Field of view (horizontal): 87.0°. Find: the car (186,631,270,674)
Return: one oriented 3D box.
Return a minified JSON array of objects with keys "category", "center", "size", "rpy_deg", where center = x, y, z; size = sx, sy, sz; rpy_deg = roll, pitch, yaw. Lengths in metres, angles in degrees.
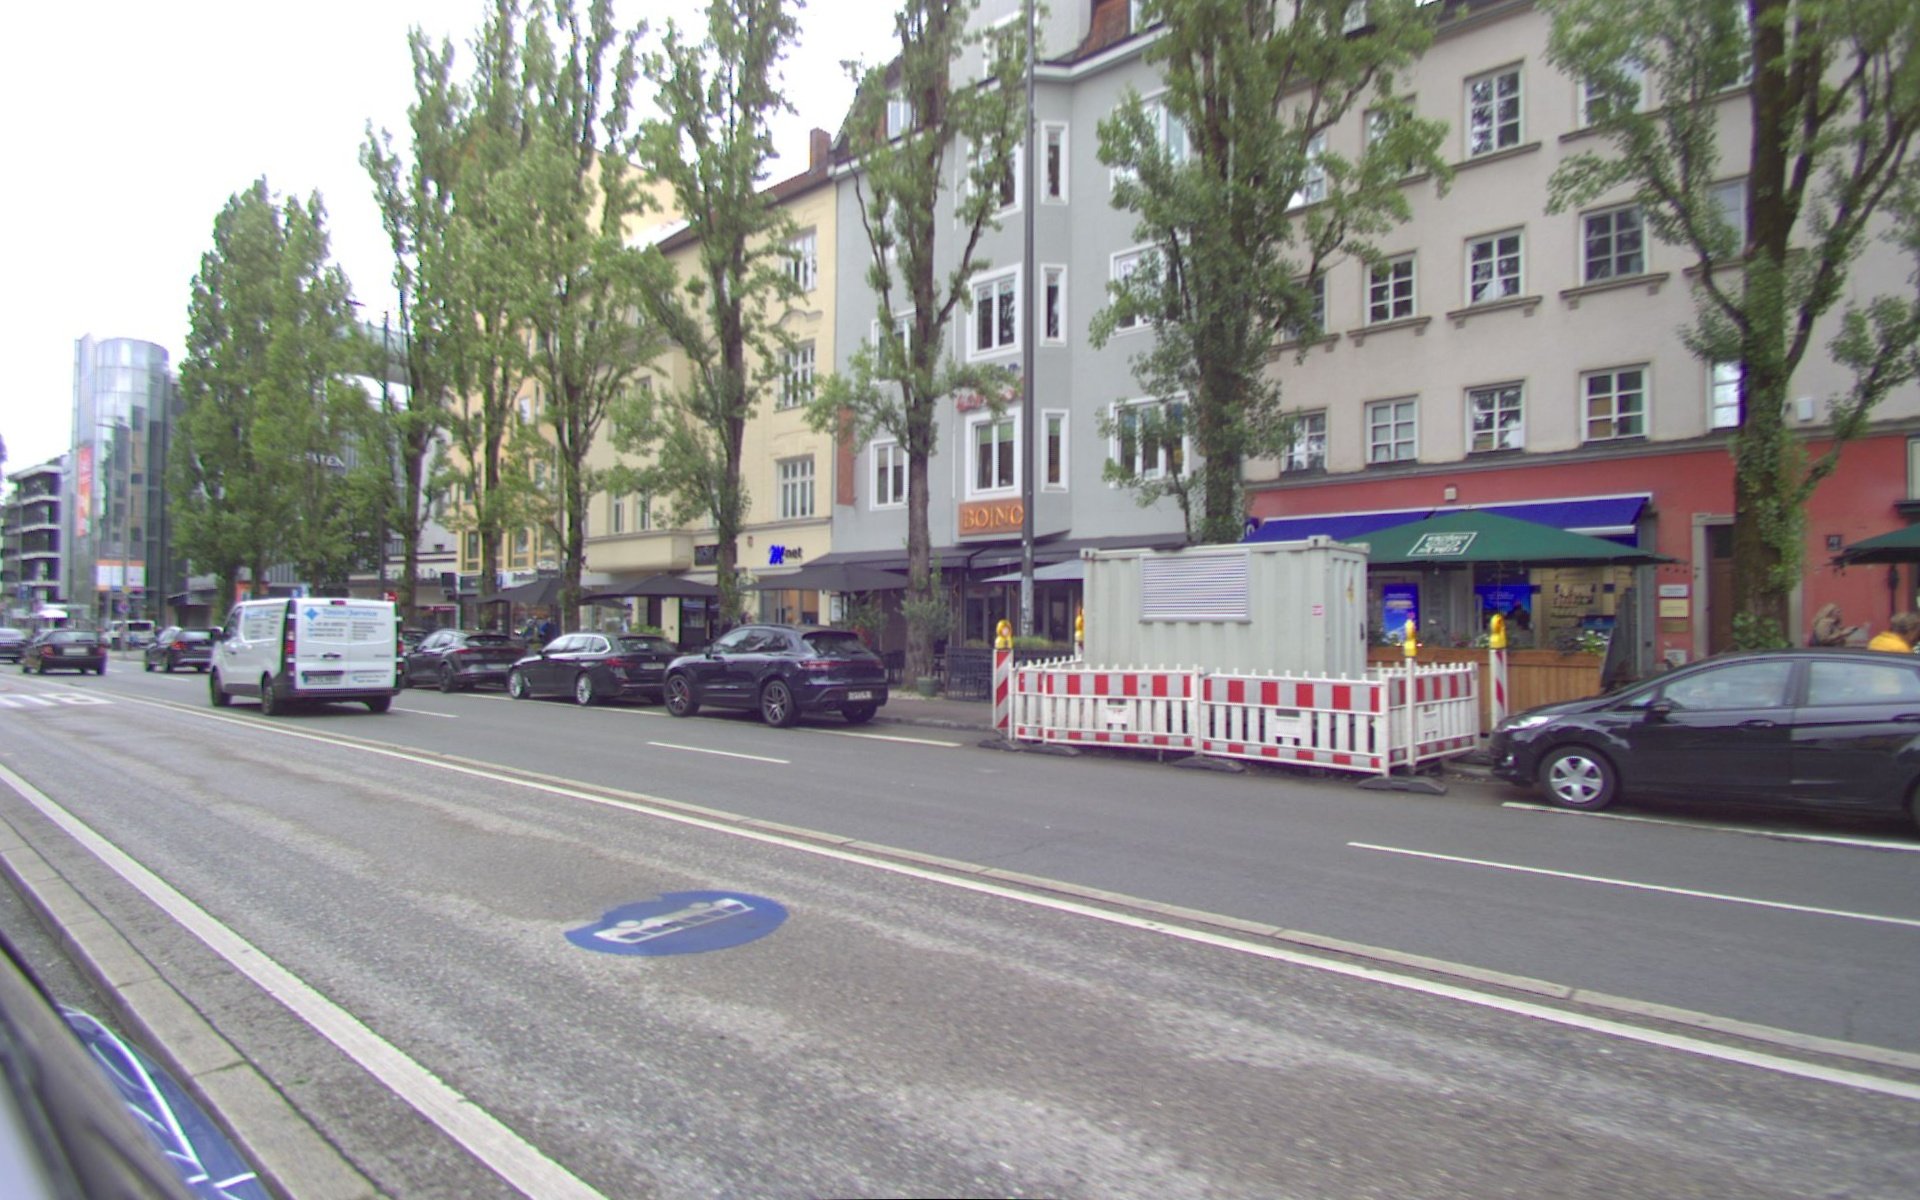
[{"category":"car","center":[-28.702,2.022,39.642],"size":[4.102,1.590,1.779],"rpy_deg":[-2,-3,41]}]

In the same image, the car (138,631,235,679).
[{"category":"car","center":[-26.605,1.854,34.756],"size":[4.360,1.530,1.728],"rpy_deg":[-1,-3,40]}]

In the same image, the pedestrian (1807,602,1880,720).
[{"category":"pedestrian","center":[12.758,0.869,14.617],"size":[0.732,1.636,0.690],"rpy_deg":[-2,-3,43]}]

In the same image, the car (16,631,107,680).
[{"category":"car","center":[-28.102,1.694,31.613],"size":[3.593,1.451,1.596],"rpy_deg":[-1,-3,40]}]

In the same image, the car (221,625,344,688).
[{"category":"car","center":[-18.095,1.465,26.976],"size":[4.074,1.553,1.696],"rpy_deg":[-2,-4,41]}]

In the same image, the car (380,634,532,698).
[{"category":"car","center":[-12.708,1.587,25.399],"size":[4.572,1.451,1.778],"rpy_deg":[-2,-3,41]}]

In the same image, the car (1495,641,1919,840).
[{"category":"car","center":[6.840,1.089,8.638],"size":[3.779,1.433,1.739],"rpy_deg":[-1,-3,38]}]

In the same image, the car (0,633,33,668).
[{"category":"car","center":[-39.667,2.043,41.563],"size":[4.360,1.410,1.758],"rpy_deg":[-1,-3,40]}]

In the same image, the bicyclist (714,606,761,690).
[{"category":"bicyclist","center":[-4.684,0.997,21.337],"size":[0.816,1.718,0.598],"rpy_deg":[-1,-2,42]}]

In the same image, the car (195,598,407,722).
[{"category":"car","center":[-12.037,1.031,18.324],"size":[5.069,1.947,1.872],"rpy_deg":[-2,-3,41]}]

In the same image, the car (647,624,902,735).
[{"category":"car","center":[-3.241,1.248,17.107],"size":[4.572,1.625,1.778],"rpy_deg":[-2,-3,41]}]

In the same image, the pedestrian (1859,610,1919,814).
[{"category":"pedestrian","center":[8.459,0.965,8.913],"size":[0.731,1.739,0.691],"rpy_deg":[-2,-3,38]}]

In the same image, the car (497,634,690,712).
[{"category":"car","center":[-7.700,1.443,21.072],"size":[4.572,1.451,1.778],"rpy_deg":[-2,-3,41]}]
